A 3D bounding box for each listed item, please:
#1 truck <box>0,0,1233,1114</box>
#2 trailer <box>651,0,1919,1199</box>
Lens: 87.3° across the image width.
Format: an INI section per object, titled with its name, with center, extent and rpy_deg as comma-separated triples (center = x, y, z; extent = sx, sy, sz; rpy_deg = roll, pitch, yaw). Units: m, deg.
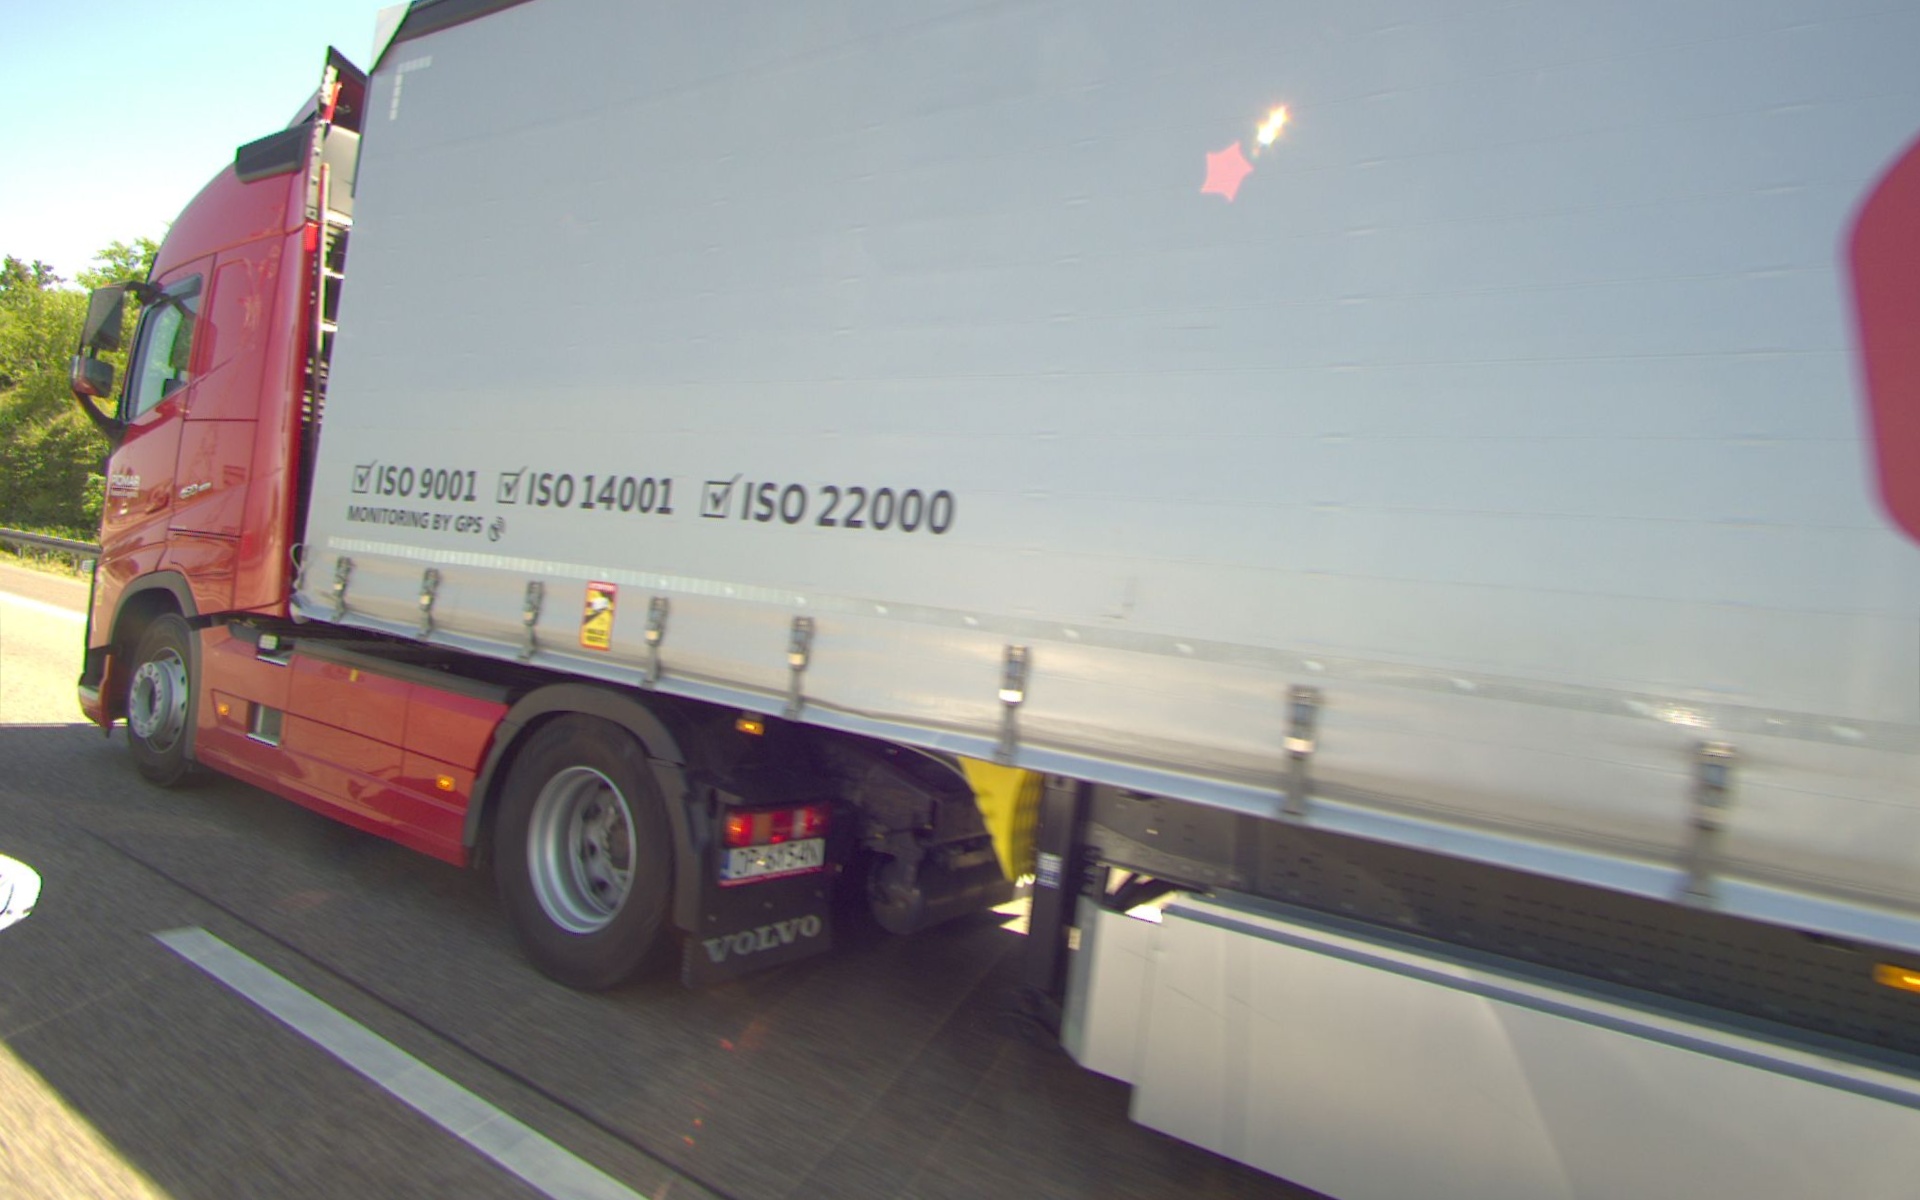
[truck]
center = -2.454, -0.706, 5.802
extent = 6.979, 3.966, 2.503
rpy_deg = 6, -1, 31
[trailer]
center = 5.799, 0.242, 0.703
extent = 14.009, 3.956, 2.495
rpy_deg = 6, -1, 31
